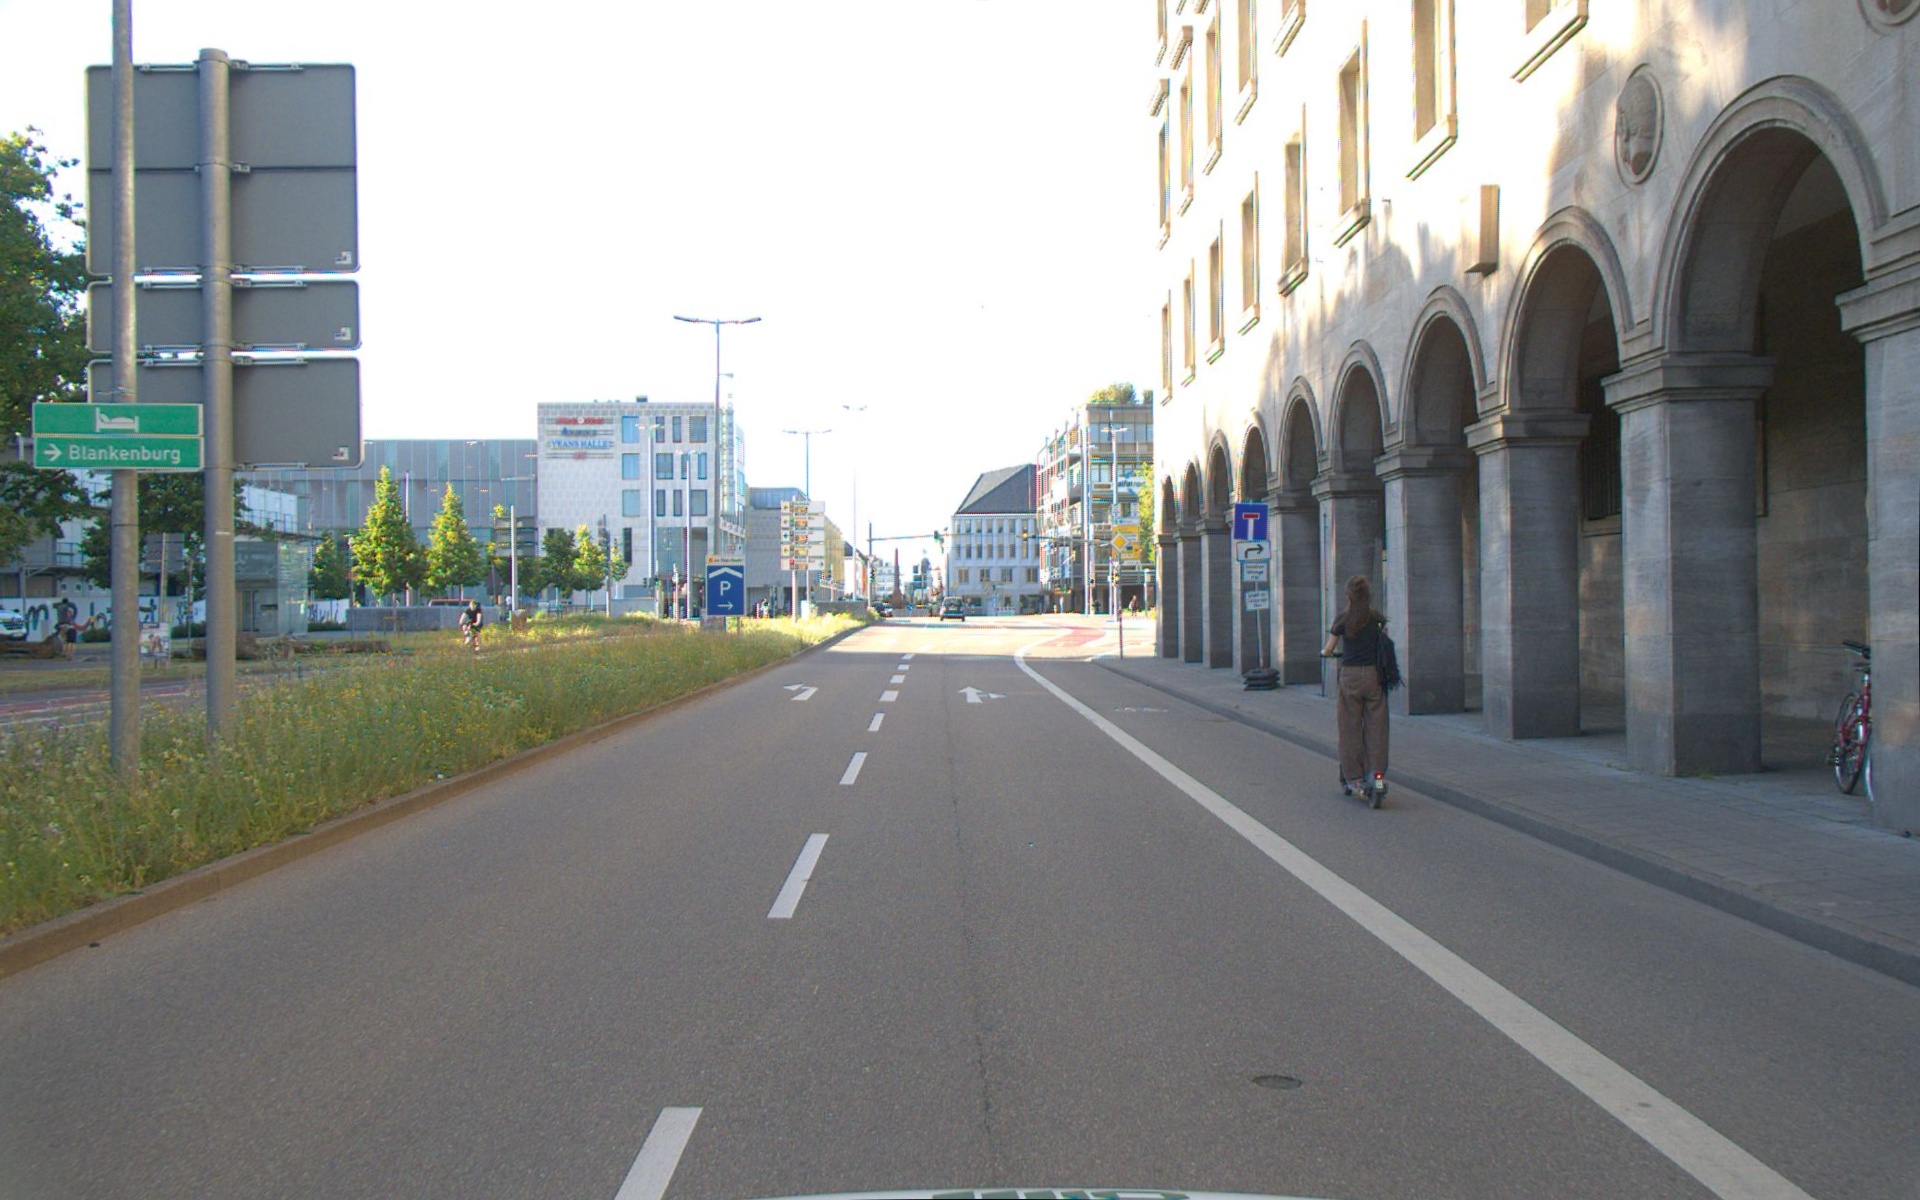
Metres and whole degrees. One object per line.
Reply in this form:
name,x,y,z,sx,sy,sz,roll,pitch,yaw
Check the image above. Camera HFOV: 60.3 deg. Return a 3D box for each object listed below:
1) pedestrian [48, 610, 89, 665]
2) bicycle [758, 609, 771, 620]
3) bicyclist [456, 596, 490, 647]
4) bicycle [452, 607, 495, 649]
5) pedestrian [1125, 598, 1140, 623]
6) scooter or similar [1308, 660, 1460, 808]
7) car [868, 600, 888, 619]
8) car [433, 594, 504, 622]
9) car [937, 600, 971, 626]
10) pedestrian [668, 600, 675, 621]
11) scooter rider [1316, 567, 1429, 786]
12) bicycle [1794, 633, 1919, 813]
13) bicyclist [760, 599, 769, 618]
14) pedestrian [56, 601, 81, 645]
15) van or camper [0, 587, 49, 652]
pedestrian,-25.424,1.060,47.187,0.600,1.554,0.943,-1,0,5
bicycle,-15.882,1.153,134.412,0.599,0.877,1.952,-1,0,5
bicyclist,-15.822,0.705,53.767,0.732,1.618,1.202,-1,-2,-1
bicycle,-15.809,0.933,53.773,0.742,1.297,2.257,-1,-2,-1
pedestrian,12.494,0.759,120.033,0.804,1.779,1.042,-2,-1,21
scooter or similar,3.280,1.014,12.862,0.548,1.049,1.108,-1,0,-27
car,-8.567,0.986,173.562,1.953,1.773,4.646,0,1,-1
car,-34.582,0.582,116.416,4.553,1.842,1.868,-1,-2,-8
car,-0.387,0.836,105.995,1.742,1.591,3.783,-1,0,-7
pedestrian,-28.046,0.998,160.780,0.611,2.049,0.515,-1,0,-9
scooter rider,3.228,0.581,12.960,0.554,1.660,0.644,0,-1,-27
bicycle,6.052,0.789,11.148,0.460,1.069,1.714,-2,0,18
bicyclist,-15.887,0.664,134.404,0.594,1.515,0.681,-1,0,5
pedestrian,-35.360,0.904,65.608,0.568,1.718,0.835,-1,0,-2
van or camper,-33.193,0.704,54.078,5.546,2.049,2.257,-1,-2,0
